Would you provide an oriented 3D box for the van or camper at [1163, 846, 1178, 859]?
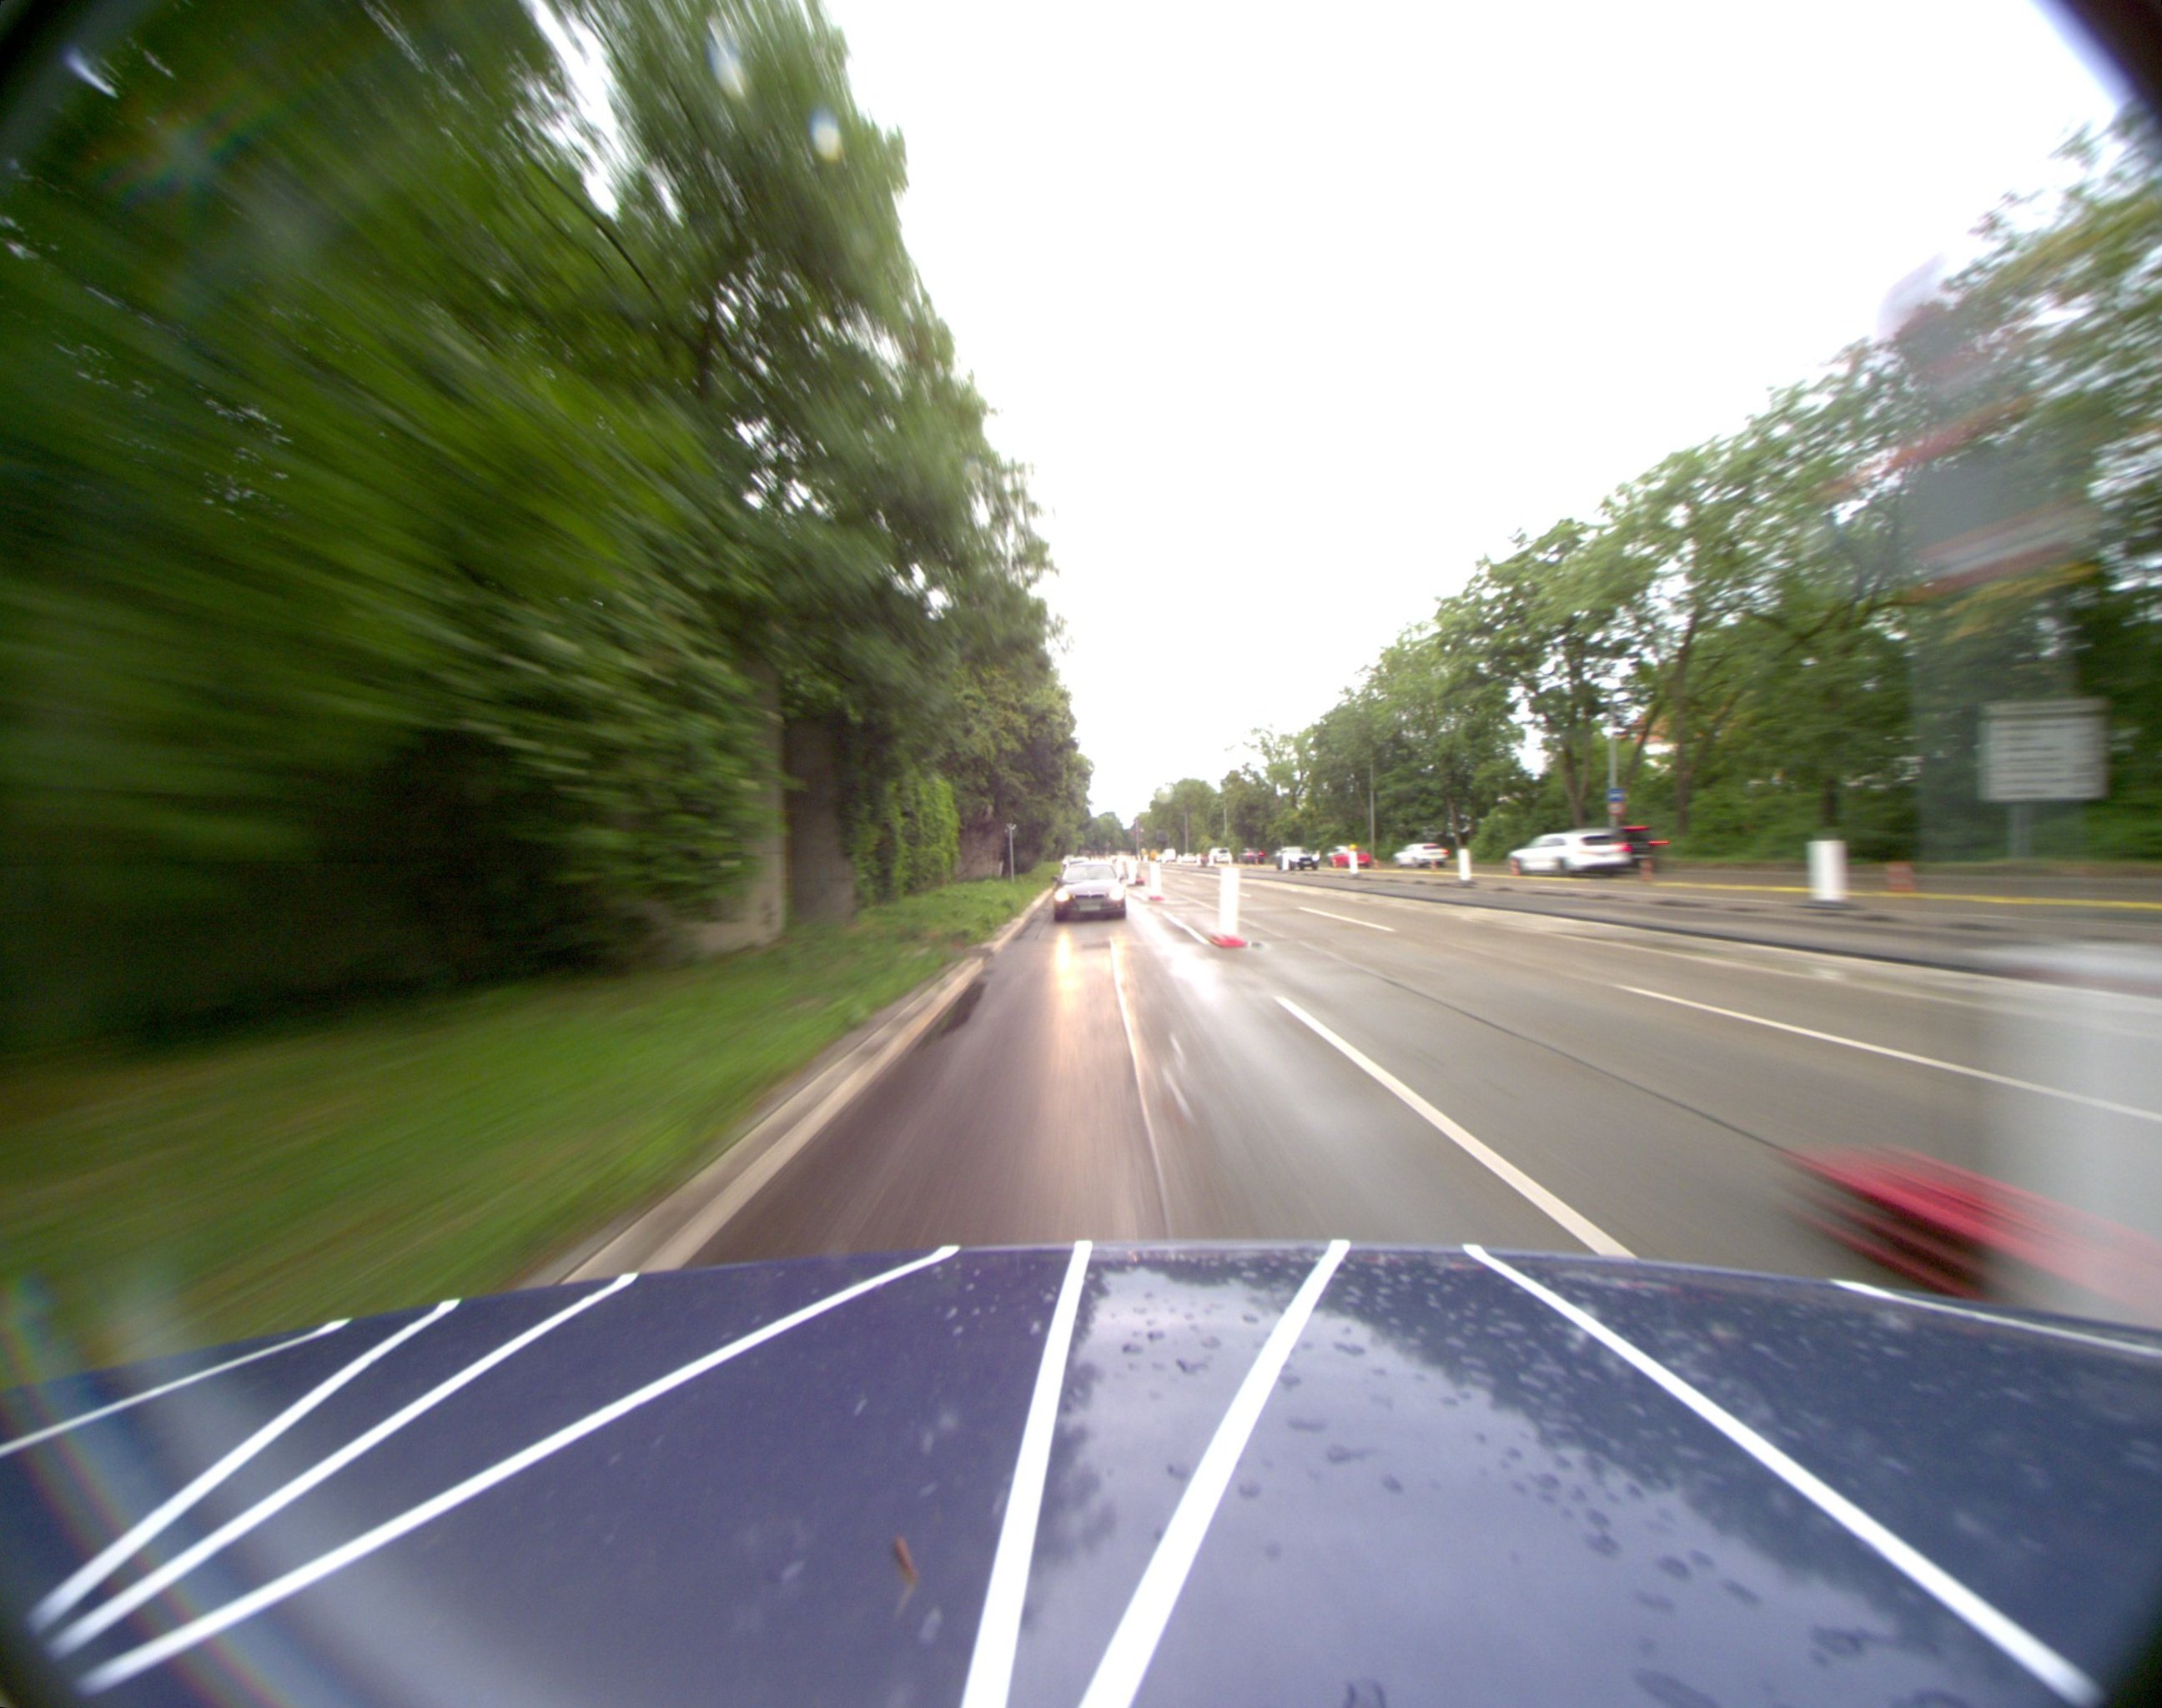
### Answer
[{"bbox_3d":[19.131,-0.268,162.584,1.999,2.540,7.729,-3,0,-1],"label":"van or camper"}]

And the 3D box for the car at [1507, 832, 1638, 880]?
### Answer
[{"bbox_3d":[18.863,0.064,29.493,1.895,1.651,4.893,-2,0,0],"label":"car"}]

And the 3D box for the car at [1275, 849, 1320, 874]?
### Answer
[{"bbox_3d":[15.525,0.527,54.821,1.998,1.619,4.812,-2,0,2],"label":"car"}]

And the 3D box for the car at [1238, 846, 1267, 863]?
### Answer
[{"bbox_3d":[18.383,0.025,81.583,2.026,1.715,5.012,-2,0,0],"label":"car"}]

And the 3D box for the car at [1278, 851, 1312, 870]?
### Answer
[{"bbox_3d":[18.600,0.537,66.259,1.781,1.479,4.196,-2,0,0],"label":"car"}]

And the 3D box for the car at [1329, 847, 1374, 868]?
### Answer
[{"bbox_3d":[18.770,0.225,52.881,1.683,1.392,4.012,-2,0,0],"label":"car"}]

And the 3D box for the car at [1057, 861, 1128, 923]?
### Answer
[{"bbox_3d":[0.217,0.918,19.942,1.658,1.409,4.128,0,0,-1],"label":"car"}]

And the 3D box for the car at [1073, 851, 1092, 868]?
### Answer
[{"bbox_3d":[0.151,0.594,83.559,1.998,1.707,4.000,-1,0,1],"label":"car"}]

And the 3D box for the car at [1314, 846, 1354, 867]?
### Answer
[{"bbox_3d":[20.743,0.219,62.389,1.707,1.617,4.418,-2,0,-1],"label":"car"}]

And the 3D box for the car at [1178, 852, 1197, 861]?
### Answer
[{"bbox_3d":[16.766,0.380,119.829,1.999,1.407,4.392,-1,0,-4],"label":"car"}]

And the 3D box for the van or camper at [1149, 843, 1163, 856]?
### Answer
[{"bbox_3d":[19.022,-1.132,192.321,2.304,3.045,7.449,-2,0,-3],"label":"van or camper"}]

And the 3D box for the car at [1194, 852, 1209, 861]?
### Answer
[{"bbox_3d":[20.006,0.464,126.228,1.733,1.467,4.486,-1,0,-2],"label":"car"}]

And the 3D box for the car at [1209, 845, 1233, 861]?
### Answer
[{"bbox_3d":[17.924,-0.099,97.577,1.999,1.960,4.902,-2,0,-2],"label":"car"}]

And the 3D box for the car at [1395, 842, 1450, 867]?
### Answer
[{"bbox_3d":[21.656,0.023,48.400,1.683,1.487,4.149,-1,0,0],"label":"car"}]
